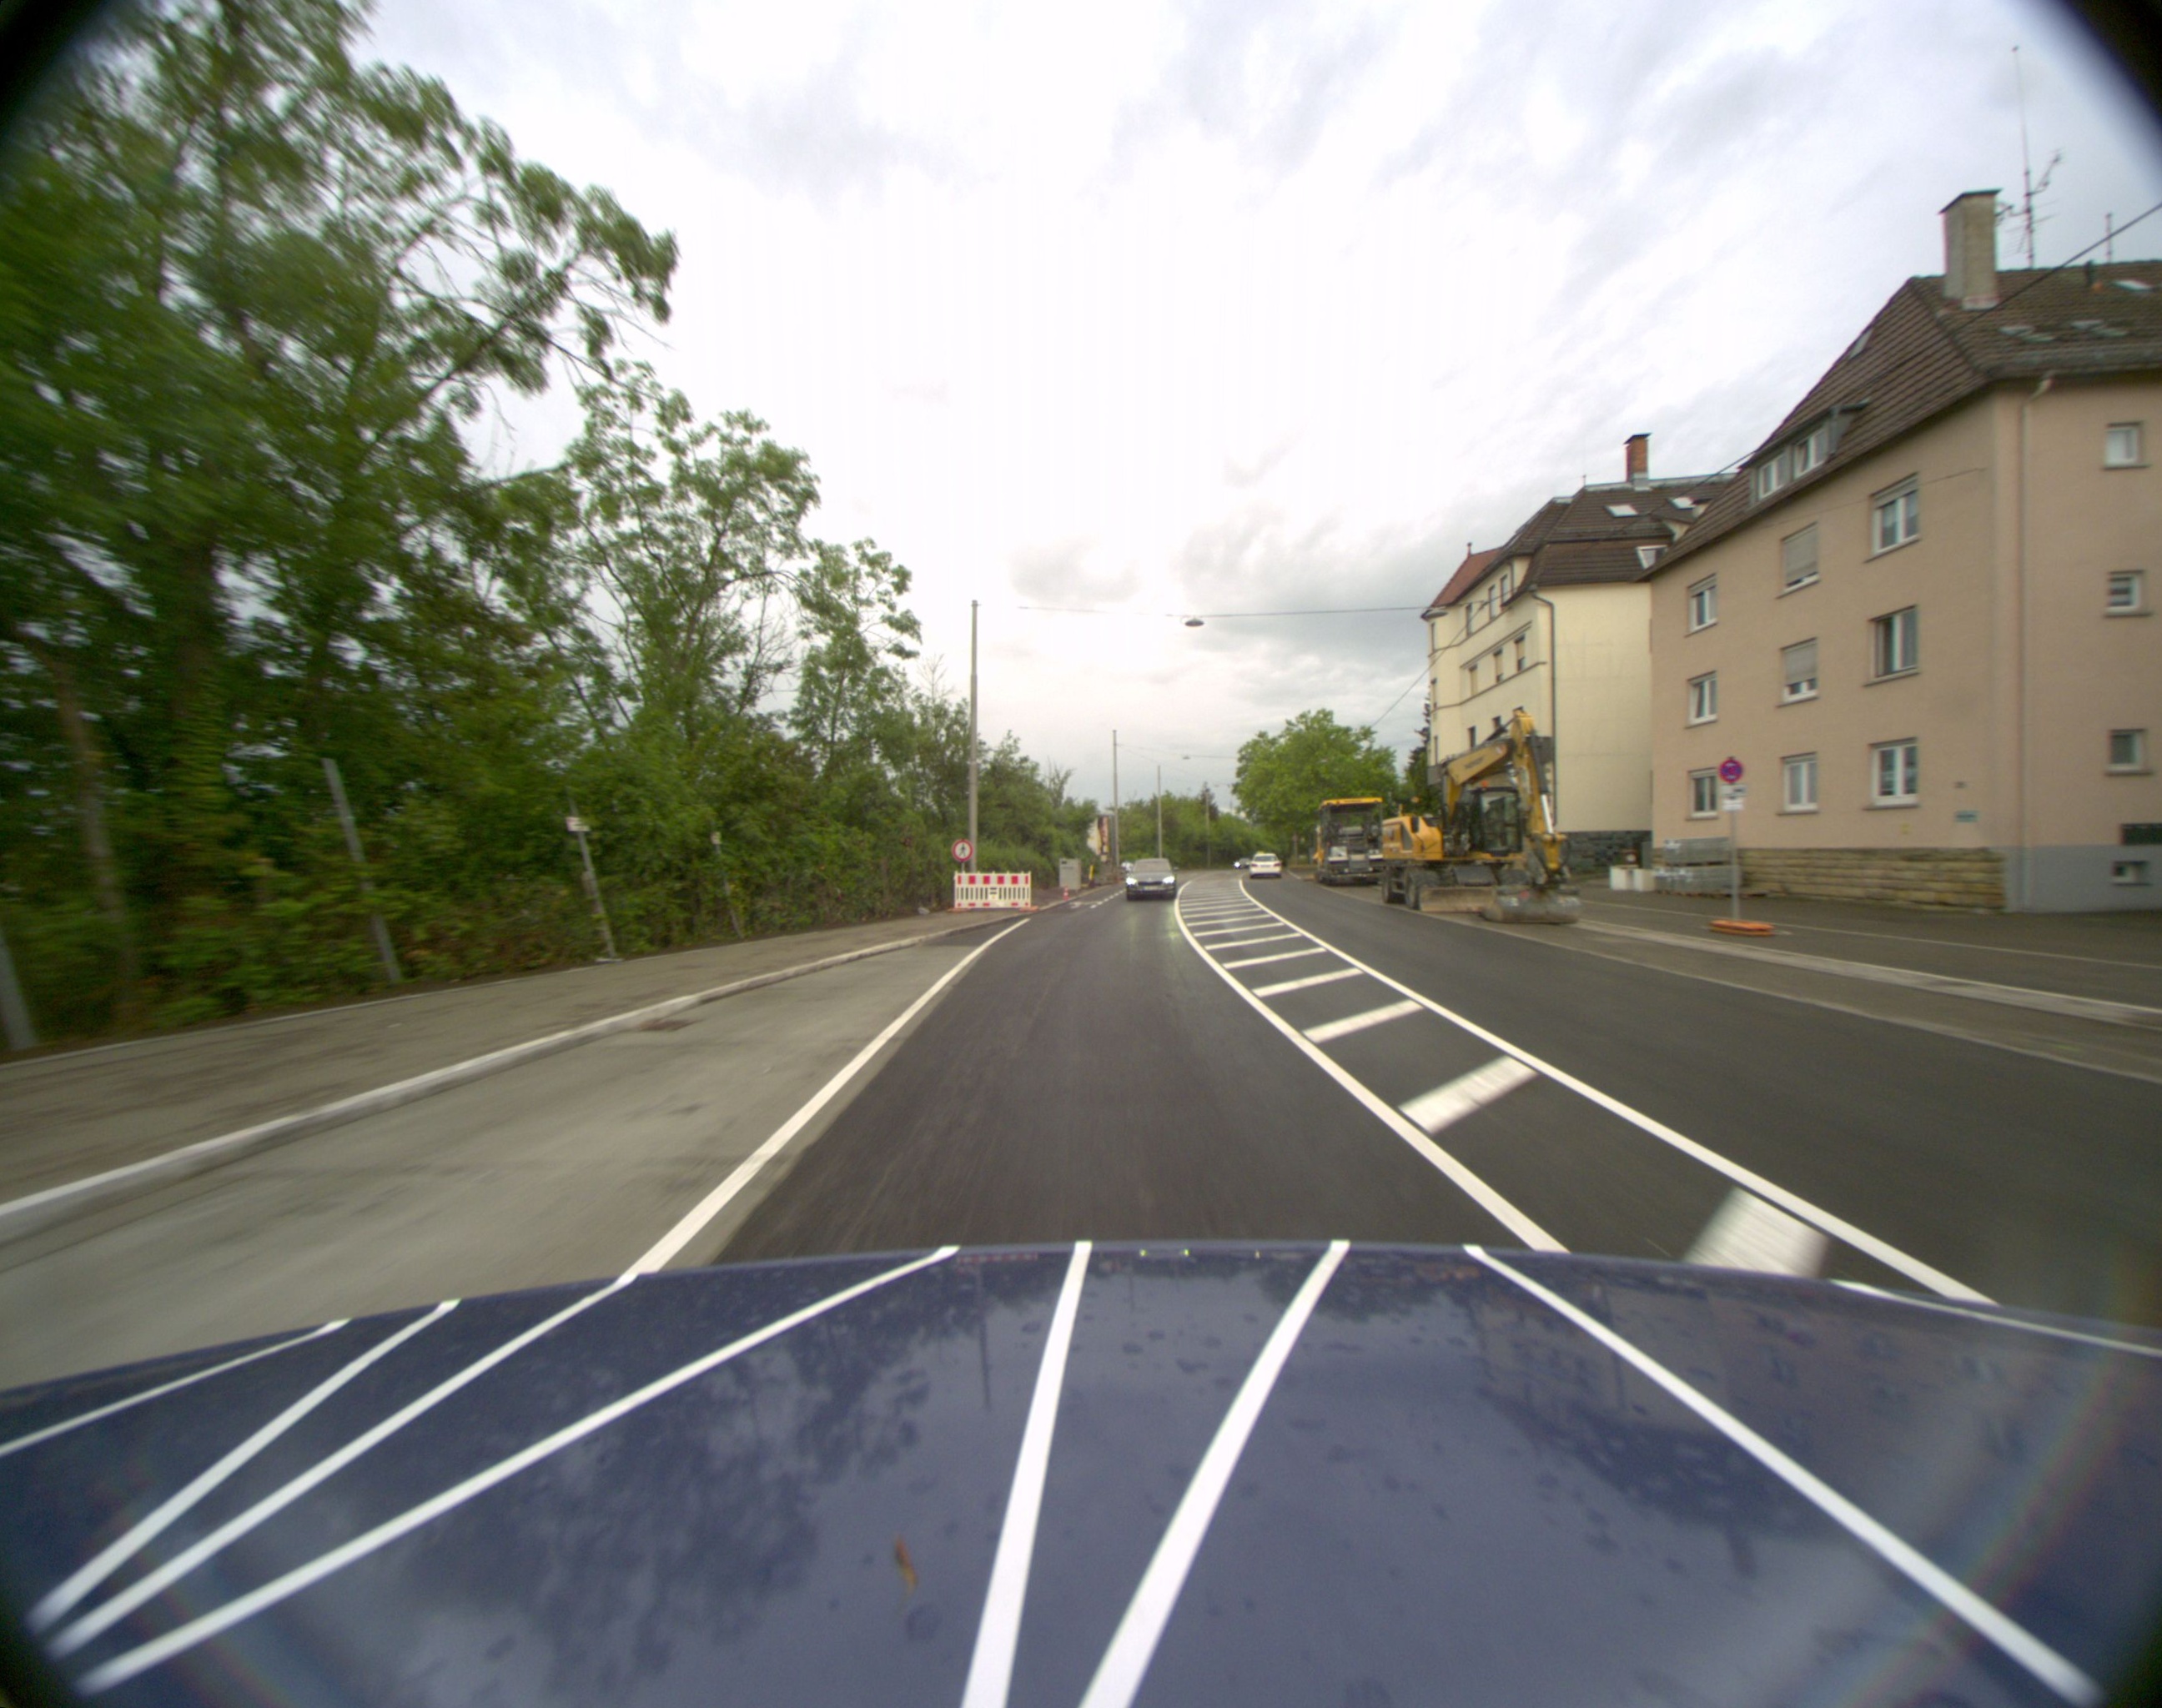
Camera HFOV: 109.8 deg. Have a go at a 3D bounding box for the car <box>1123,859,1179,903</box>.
[{"bbox_3d":[2.653,0.945,28.018,1.836,1.429,4.002,-2,0,8],"label":"car"}]

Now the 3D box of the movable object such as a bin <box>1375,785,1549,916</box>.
[{"bbox_3d":[10.049,-0.065,20.614,2.829,3.094,4.636,-1,0,7],"label":"movable object such as a bin"}]

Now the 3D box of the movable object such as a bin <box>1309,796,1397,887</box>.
[{"bbox_3d":[12.811,-0.517,36.471,2.953,3.821,8.135,-1,0,13],"label":"movable object such as a bin"}]

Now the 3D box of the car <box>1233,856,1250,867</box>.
[{"bbox_3d":[20.691,1.009,97.858,1.603,1.295,3.718,-2,-1,20],"label":"car"}]

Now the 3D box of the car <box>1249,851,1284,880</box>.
[{"bbox_3d":[11.313,0.659,46.581,1.961,1.634,4.448,-1,0,12],"label":"car"}]
